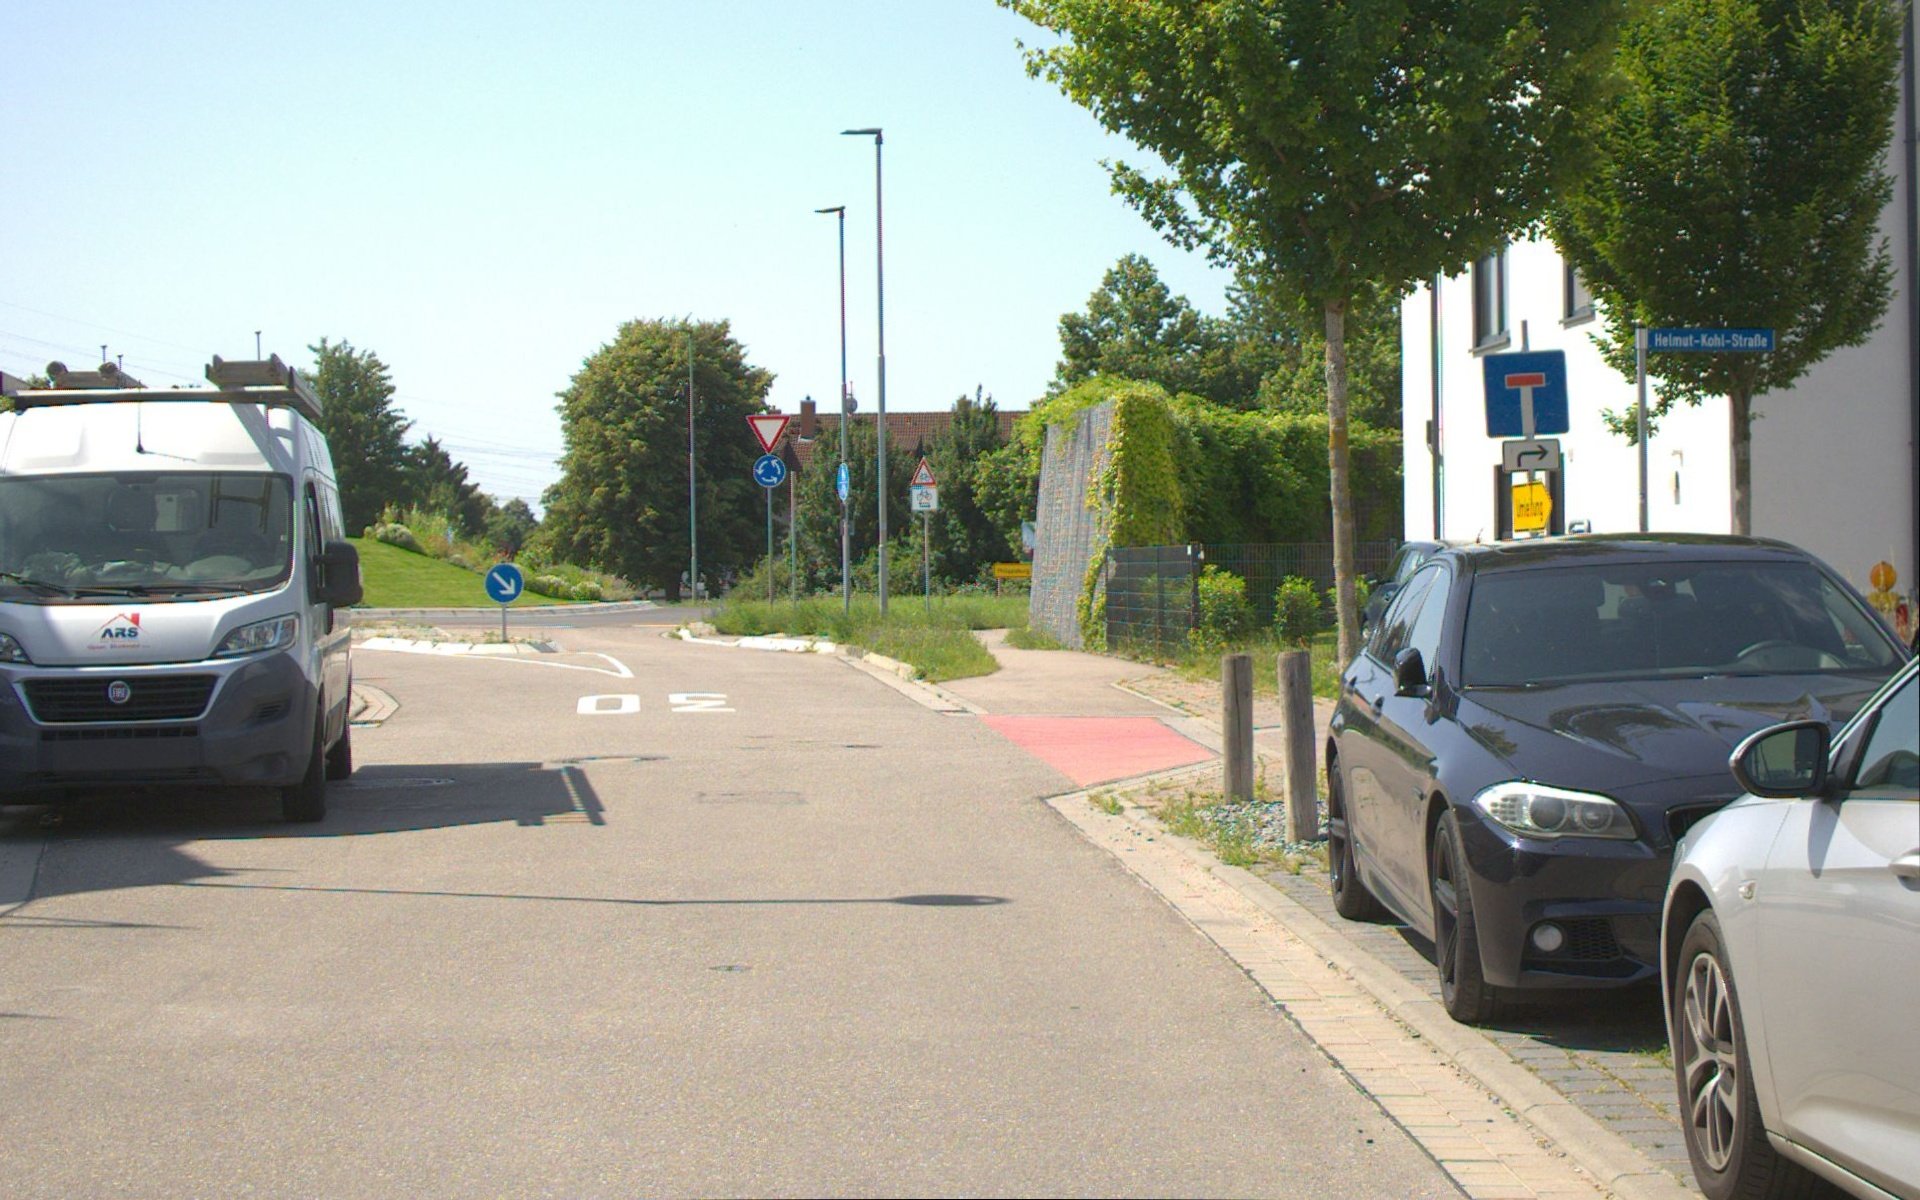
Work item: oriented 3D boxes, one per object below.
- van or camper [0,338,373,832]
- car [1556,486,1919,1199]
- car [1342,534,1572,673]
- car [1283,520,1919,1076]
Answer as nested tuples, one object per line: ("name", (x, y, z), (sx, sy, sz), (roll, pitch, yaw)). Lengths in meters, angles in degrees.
("van or camper", (-4.865, -0.088, 21.062), (2.272, 2.544, 6.369), (-1, 0, -8))
("car", (2.575, 0.529, 6.053), (1.918, 1.506, 5.295), (-2, 1, -2))
("car", (5.515, 0.000, 38.599), (1.677, 1.464, 4.117), (0, 1, -5))
("car", (2.377, 0.491, 12.121), (1.918, 1.464, 5.140), (-2, 1, 0))
